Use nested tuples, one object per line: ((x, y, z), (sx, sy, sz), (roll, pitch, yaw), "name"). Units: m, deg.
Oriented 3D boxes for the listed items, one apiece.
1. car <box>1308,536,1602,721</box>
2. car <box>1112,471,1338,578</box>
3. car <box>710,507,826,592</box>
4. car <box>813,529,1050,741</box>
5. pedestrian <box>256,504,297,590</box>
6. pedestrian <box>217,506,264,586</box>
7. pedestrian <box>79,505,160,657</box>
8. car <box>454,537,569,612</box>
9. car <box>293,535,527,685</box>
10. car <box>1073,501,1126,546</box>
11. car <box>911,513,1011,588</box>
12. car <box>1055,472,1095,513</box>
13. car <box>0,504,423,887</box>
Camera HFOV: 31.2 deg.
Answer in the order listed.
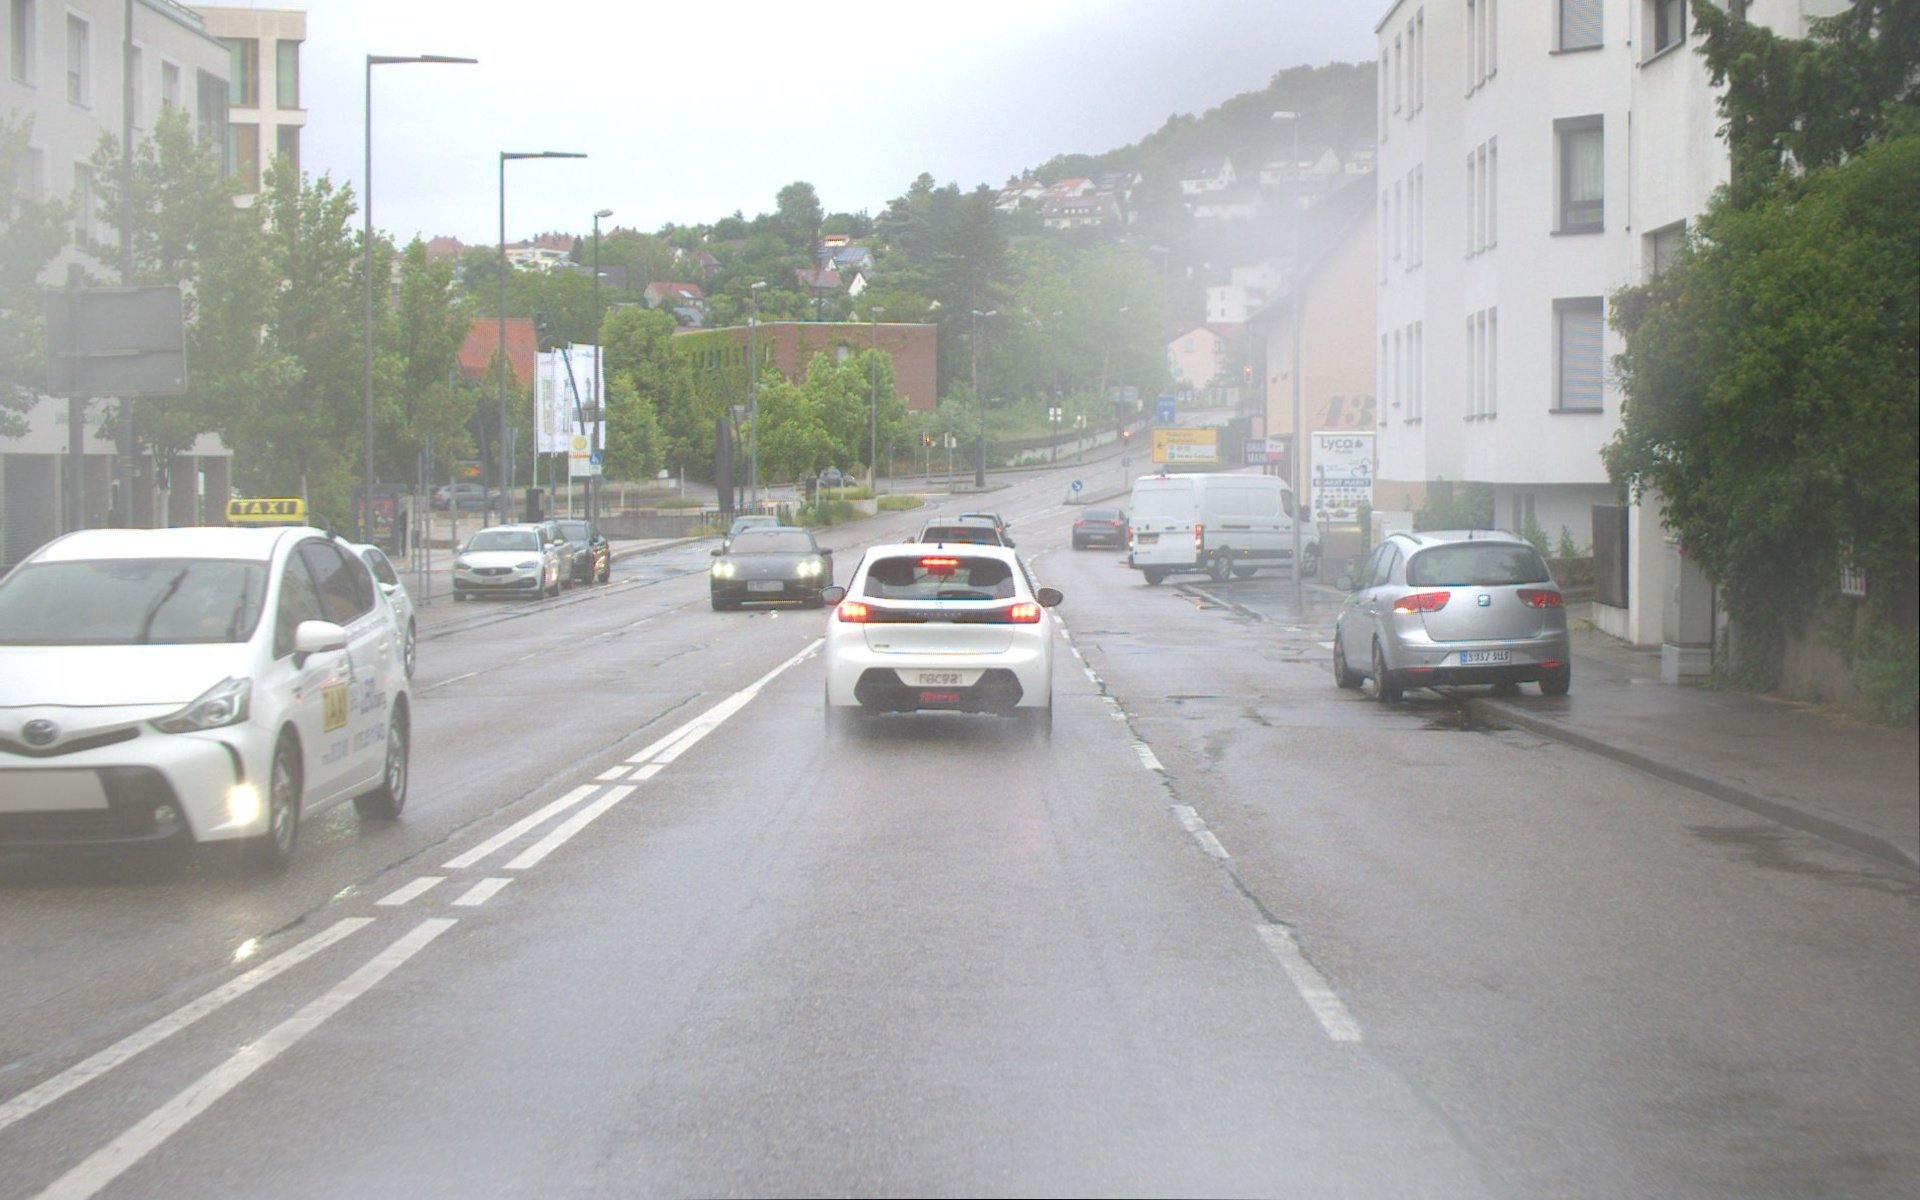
((4.576, 0.273, 32.390), (2.011, 1.616, 4.361), (0, -1, -2), "car")
((6.272, -1.744, 80.539), (2.295, 2.374, 6.612), (-1, 0, 34), "car")
((-3.341, -0.876, 60.489), (1.768, 1.409, 4.526), (-1, 0, 0), "car")
((-0.192, 0.246, 26.733), (1.691, 1.514, 3.933), (0, 0, 0), "car")
((-17.101, -1.329, 86.069), (0.748, 2.138, 0.770), (0, 0, 14), "pedestrian")
((-15.817, -1.185, 75.597), (0.808, 1.732, 1.003), (-1, 0, 0), "pedestrian")
((-9.993, -0.225, 40.887), (0.800, 1.782, 0.882), (-1, 0, -6), "pedestrian")
((-8.942, -0.512, 68.854), (1.795, 1.457, 4.479), (0, 0, -1), "car")
((-5.727, 0.089, 36.230), (1.649, 1.413, 4.138), (-3, 0, 1), "car")
((5.025, -2.770, 124.397), (1.734, 1.383, 3.353), (1, 5, 0), "car")
((0.007, -0.908, 61.965), (1.741, 1.291, 3.334), (-1, 1, 0), "car")
((6.040, -5.644, 180.851), (1.993, 2.007, 4.000), (-1, 0, 1), "car")
((-3.949, 0.393, 16.847), (1.878, 1.603, 4.719), (-1, 0, 0), "car")
